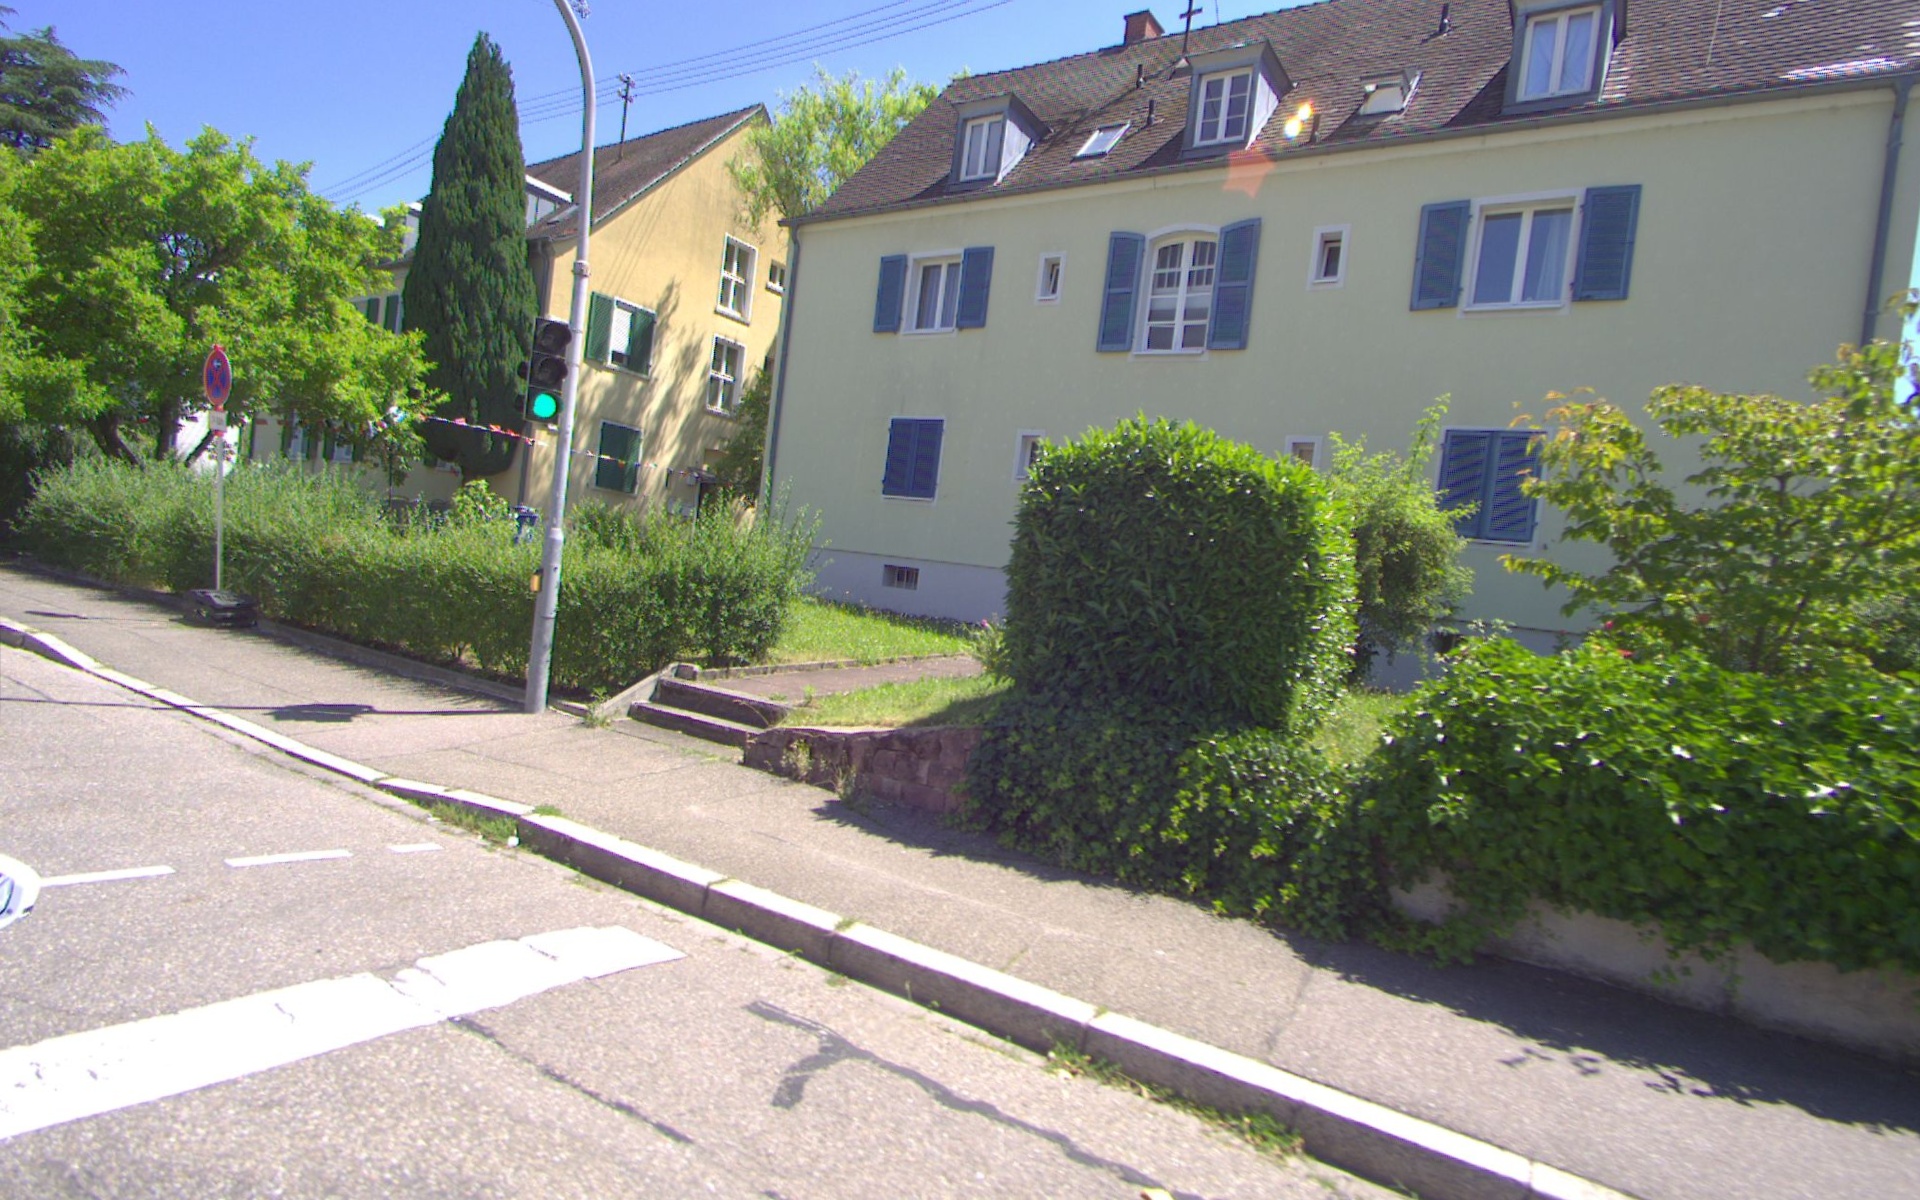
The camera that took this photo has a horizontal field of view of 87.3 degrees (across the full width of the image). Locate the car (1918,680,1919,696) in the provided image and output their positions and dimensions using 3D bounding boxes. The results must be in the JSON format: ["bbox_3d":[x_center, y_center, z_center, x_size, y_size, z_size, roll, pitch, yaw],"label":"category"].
[{"bbox_3d":[30.191,1.744,28.882,2.124,2.733,4.869,7,3,24],"label":"car"}]
